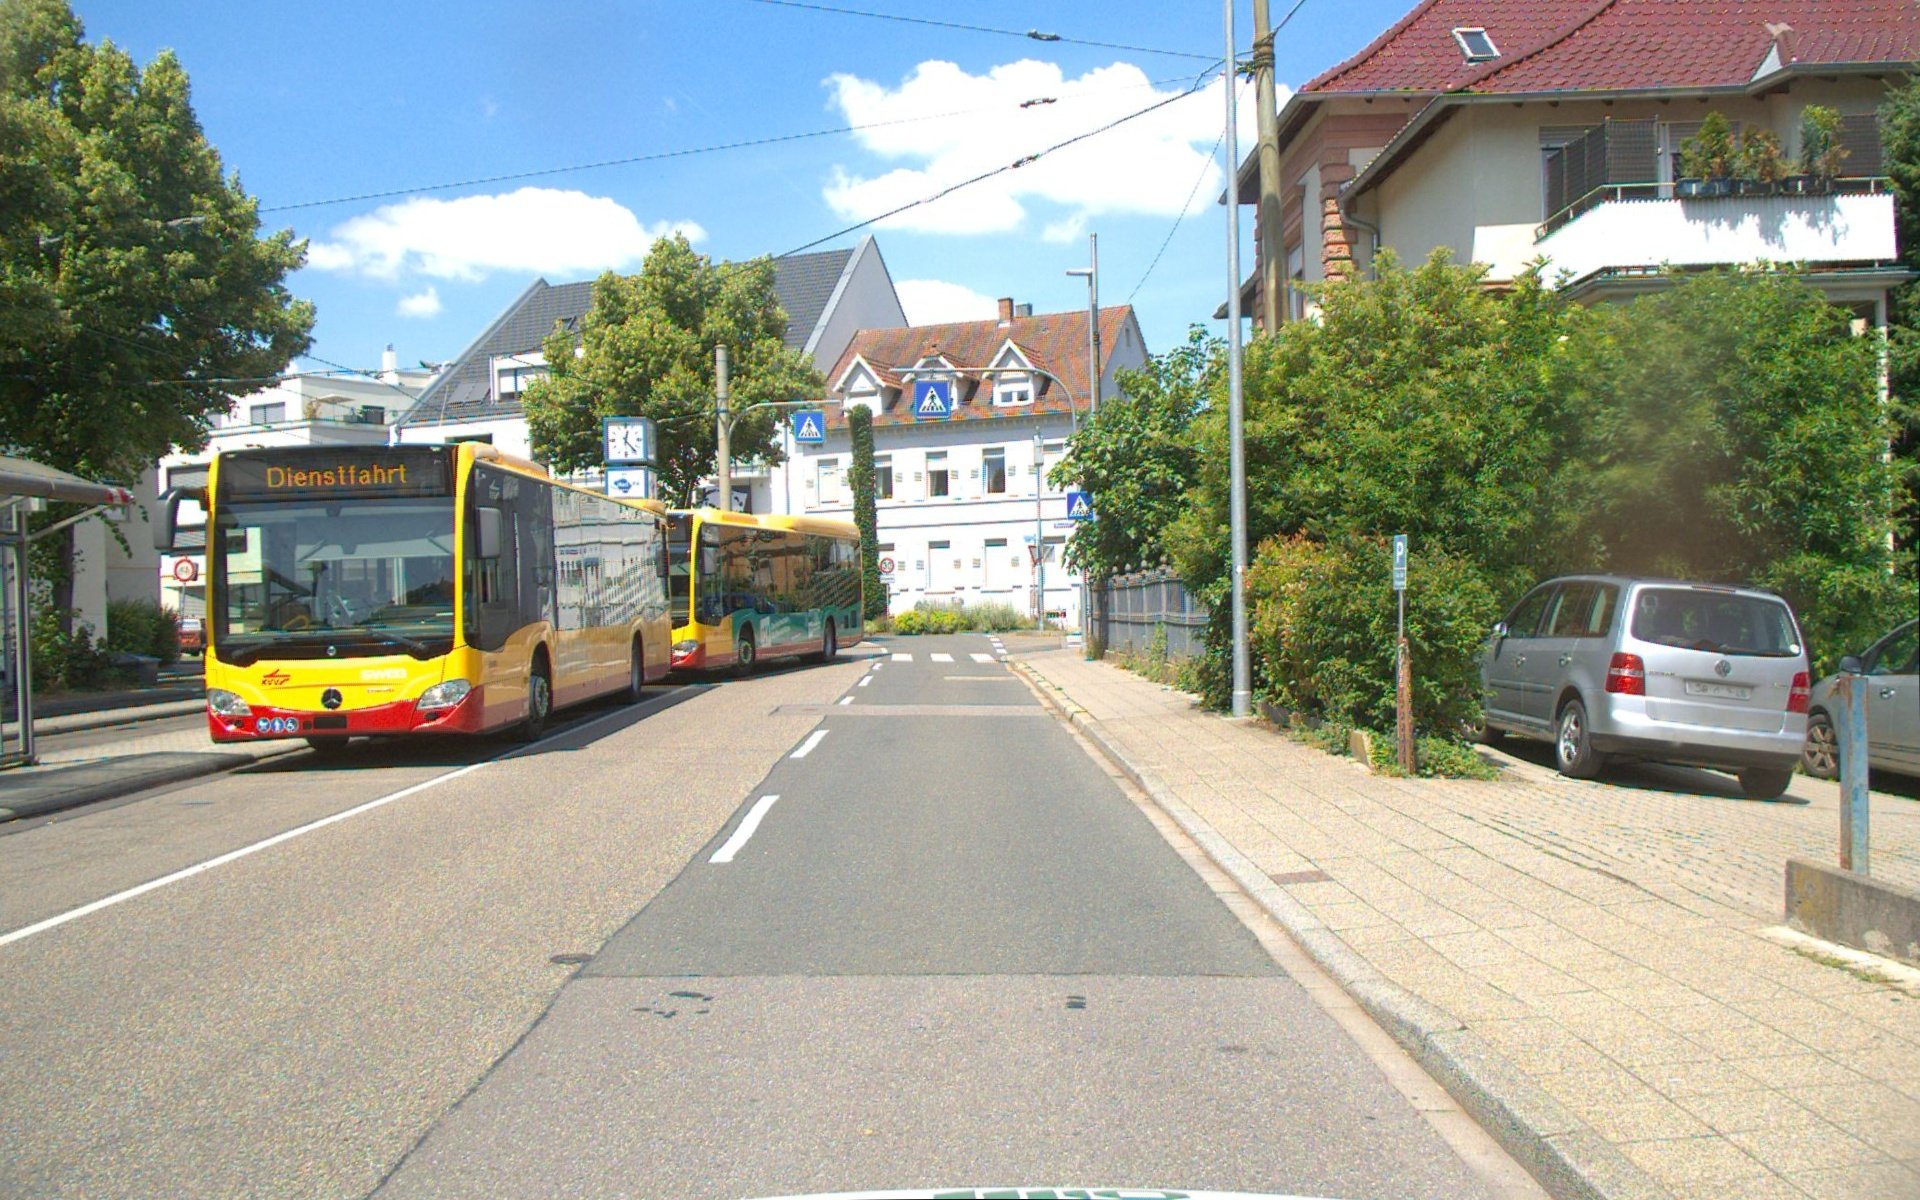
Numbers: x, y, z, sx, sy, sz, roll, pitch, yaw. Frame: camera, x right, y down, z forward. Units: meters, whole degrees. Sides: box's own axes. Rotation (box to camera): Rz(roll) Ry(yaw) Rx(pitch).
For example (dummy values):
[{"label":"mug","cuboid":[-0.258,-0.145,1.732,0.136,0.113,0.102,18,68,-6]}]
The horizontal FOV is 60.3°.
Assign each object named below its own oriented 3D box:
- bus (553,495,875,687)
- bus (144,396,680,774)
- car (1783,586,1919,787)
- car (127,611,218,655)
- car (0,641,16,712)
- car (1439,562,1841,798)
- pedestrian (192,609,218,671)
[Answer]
[{"label":"bus","cuboid":[-4.549,-0.241,34.365,2.720,3.264,12.318,0,1,11]},{"label":"bus","cuboid":[-5.817,-0.087,20.546,2.848,3.305,12.115,0,0,-1]},{"label":"car","cuboid":[9.006,0.797,14.383,1.724,1.697,4.000,4,-1,2]},{"label":"car","cuboid":[-37.691,1.586,79.193,3.911,2.049,1.997,-1,-2,28]},{"label":"car","cuboid":[-19.004,1.416,29.979,1.680,1.342,3.996,0,-1,-4]},{"label":"car","cuboid":[5.680,0.647,14.393,1.725,1.656,3.998,4,-1,-1]},{"label":"pedestrian","cuboid":[-25.041,1.334,54.849,0.677,2.049,0.611,1,-2,-36]}]
